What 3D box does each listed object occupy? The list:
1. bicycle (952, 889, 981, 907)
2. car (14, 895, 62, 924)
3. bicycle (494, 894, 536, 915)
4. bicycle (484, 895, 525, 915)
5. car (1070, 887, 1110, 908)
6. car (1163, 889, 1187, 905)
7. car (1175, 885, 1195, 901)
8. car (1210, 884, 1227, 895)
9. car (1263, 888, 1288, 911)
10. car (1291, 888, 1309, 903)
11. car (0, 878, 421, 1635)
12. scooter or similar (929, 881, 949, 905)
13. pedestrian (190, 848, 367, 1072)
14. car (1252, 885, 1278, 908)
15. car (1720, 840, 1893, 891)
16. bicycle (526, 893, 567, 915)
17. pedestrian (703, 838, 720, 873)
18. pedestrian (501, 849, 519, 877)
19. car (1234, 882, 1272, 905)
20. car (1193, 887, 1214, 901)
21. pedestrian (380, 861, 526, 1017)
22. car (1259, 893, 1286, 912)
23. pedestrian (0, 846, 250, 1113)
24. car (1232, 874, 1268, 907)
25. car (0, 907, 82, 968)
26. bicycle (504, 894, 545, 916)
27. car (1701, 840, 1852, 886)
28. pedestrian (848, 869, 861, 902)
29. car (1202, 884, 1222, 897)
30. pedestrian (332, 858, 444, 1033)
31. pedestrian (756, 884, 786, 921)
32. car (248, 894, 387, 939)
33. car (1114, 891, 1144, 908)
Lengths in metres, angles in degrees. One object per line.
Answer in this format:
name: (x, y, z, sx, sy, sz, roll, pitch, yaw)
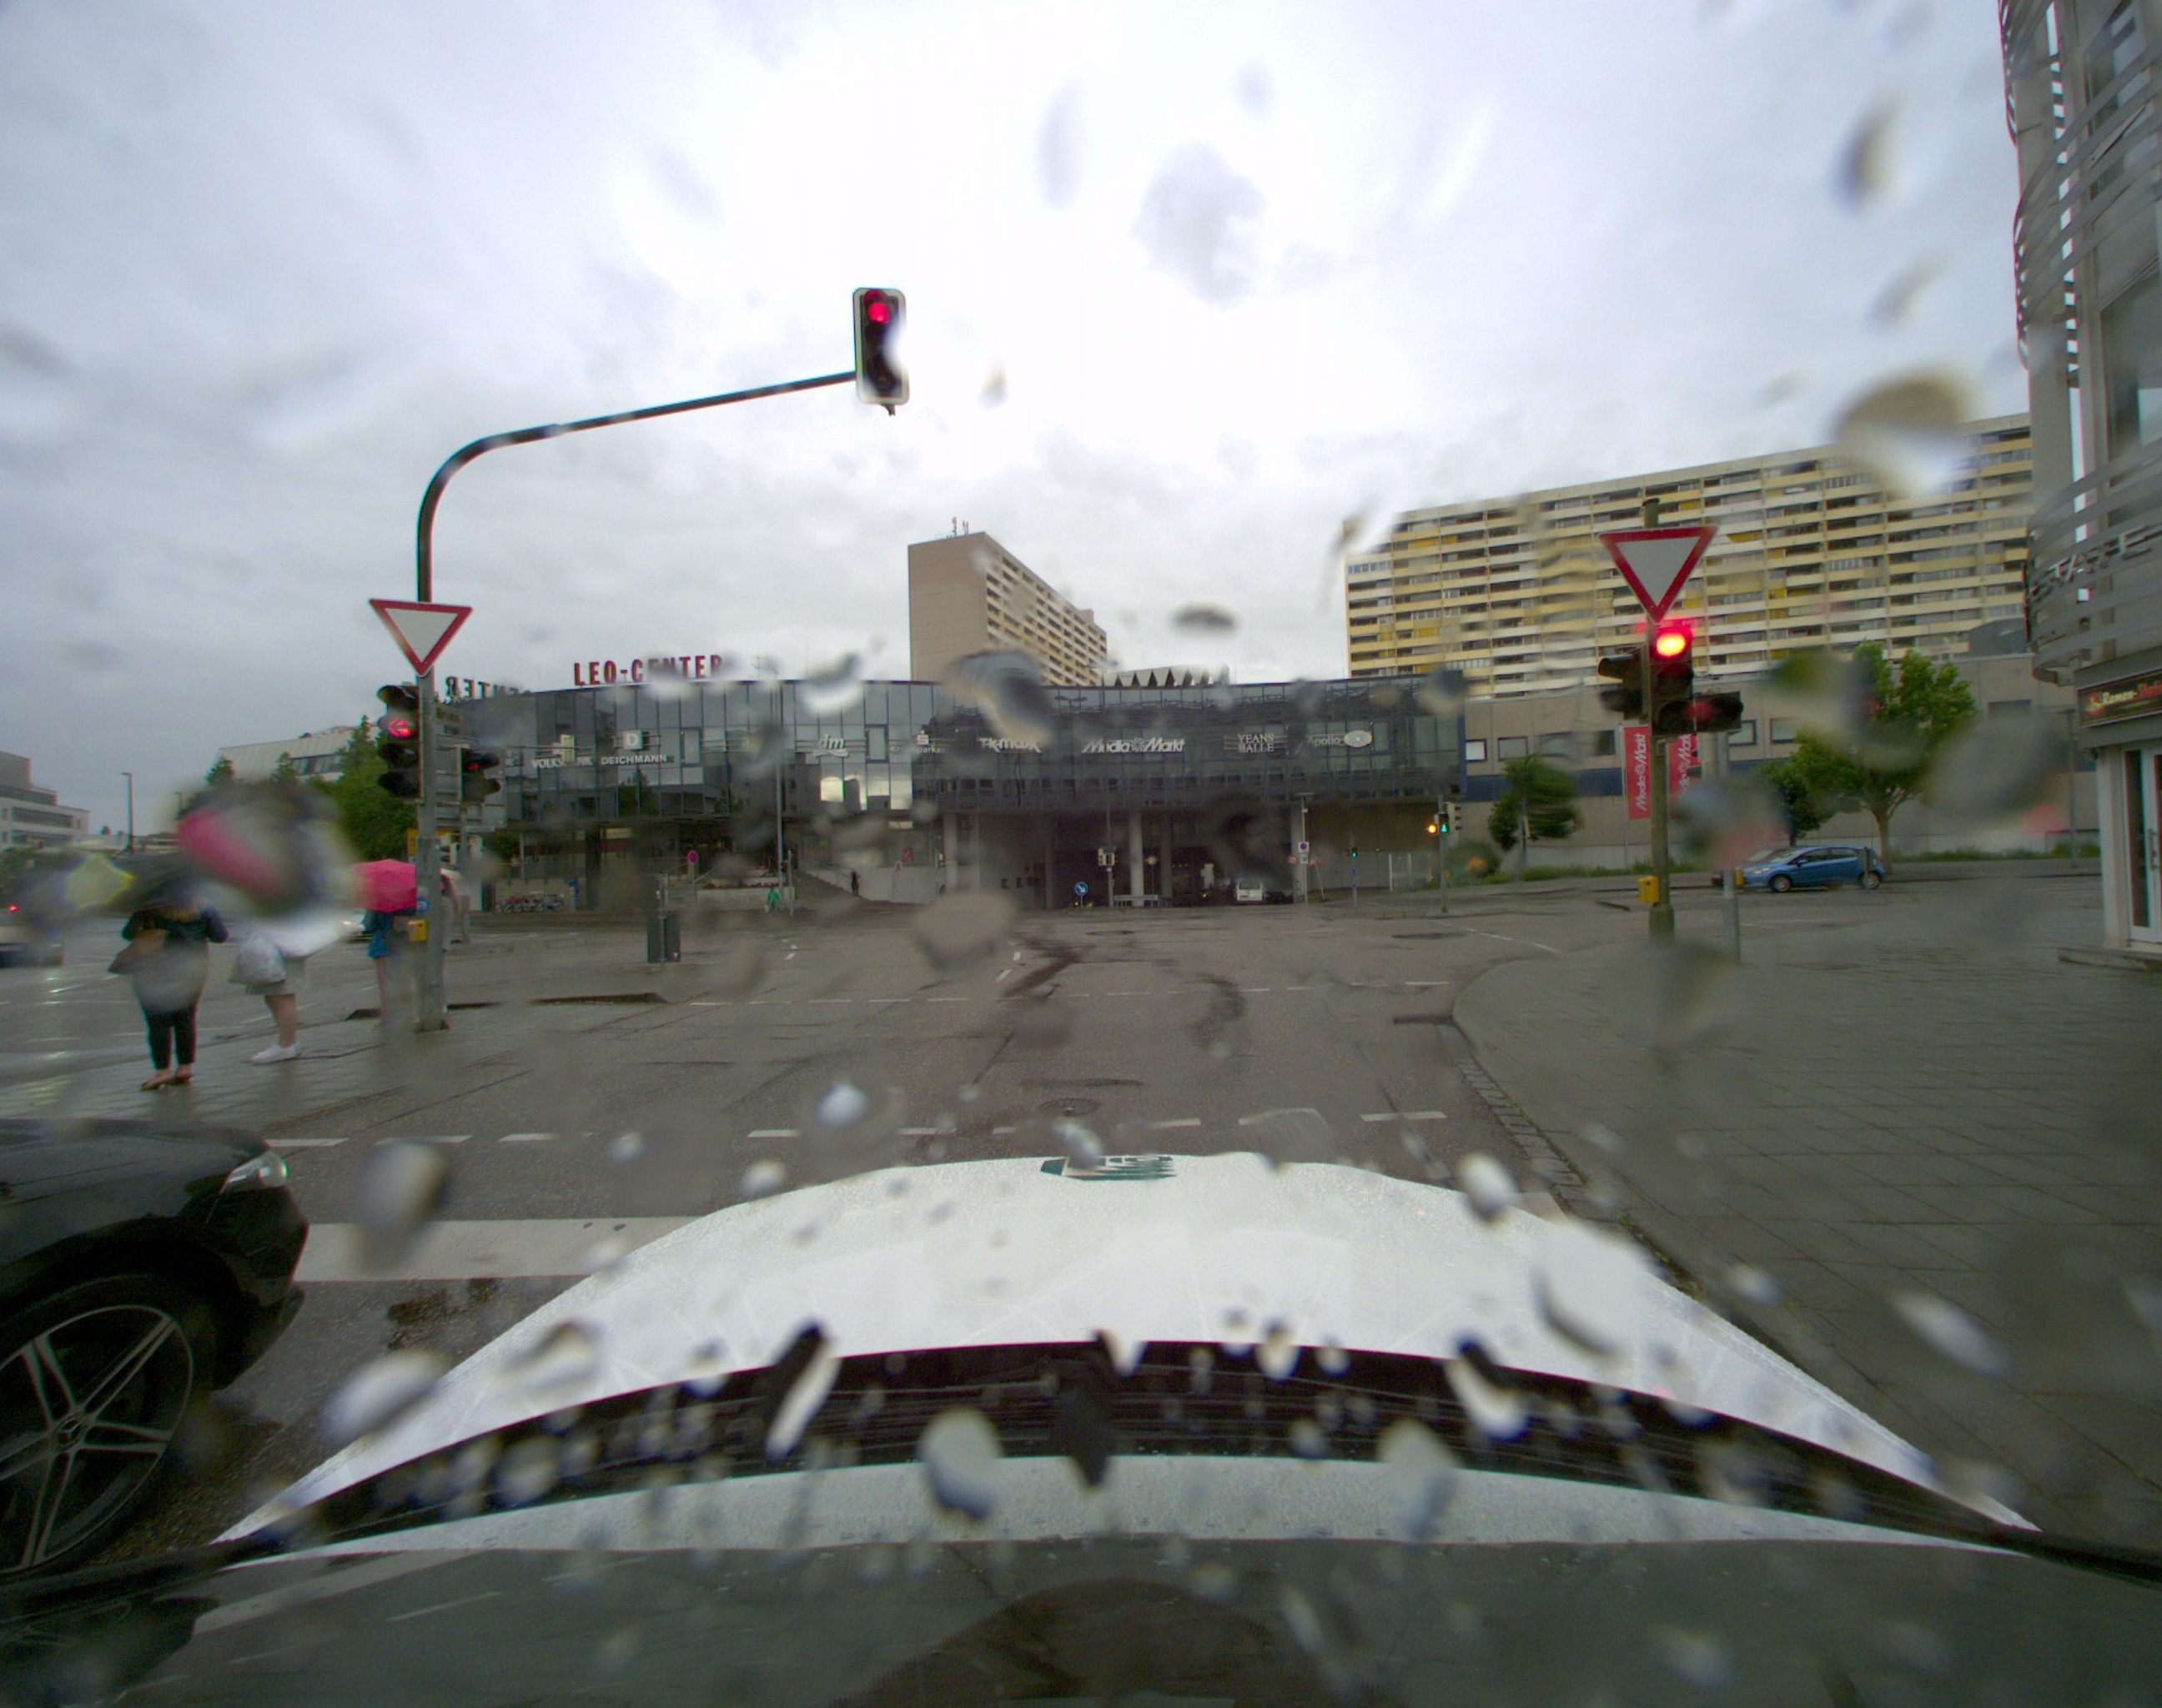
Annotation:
bicycle: (-6.885, 2.639, 48.965, 1.591, 1.018, 0.448, 5, -3, -29)
car: (-75.155, 3.969, 58.685, 4.085, 1.896, 2.062, -1, -1, 38)
bicycle: (-32.389, 2.885, 46.623, 0.621, 1.033, 1.865, -3, 1, 20)
bicycle: (-33.074, 2.928, 46.762, 0.529, 0.951, 1.865, -1, 2, 23)
car: (0.718, 3.355, 62.615, 1.877, 1.470, 4.044, -2, -5, 18)
car: (10.526, 4.770, 91.135, 1.899, 1.588, 3.957, -3, -2, 17)
car: (12.268, 4.527, 95.901, 1.823, 1.728, 4.014, -2, -1, 13)
car: (19.330, 4.961, 114.241, 1.979, 1.464, 4.016, -3, -2, 15)
car: (16.883, 3.875, 70.442, 1.777, 1.771, 4.017, -3, -2, 17)
car: (24.285, 4.572, 90.413, 1.874, 1.491, 3.856, -1, -1, 16)
car: (-3.006, 0.834, 0.609, 1.657, 1.481, 4.094, 0, 0, 0)
scooter or similar: (-8.472, 2.334, 48.533, 1.167, 1.373, 0.487, 0, -1, -13)
pedestrian: (-6.902, 0.841, 7.009, 1.123, 1.744, 0.865, -3, -1, 34)
car: (13.780, 3.182, 60.819, 1.621, 1.612, 4.279, -3, -3, 15)
car: (23.383, 0.374, 26.382, 3.819, 1.397, 1.684, -3, -2, 10)
bicycle: (-30.092, 2.816, 45.901, 0.625, 1.023, 1.864, -3, 1, 20)
pedestrian: (-21.660, 0.110, 47.759, 0.832, 2.014, 0.946, 0, -1, -19)
pedestrian: (-34.635, 0.534, 49.423, 0.592, 1.714, 0.658, -1, -1, 25)
car: (11.840, 2.763, 55.998, 1.742, 1.464, 3.963, -3, -5, 23)
car: (15.264, 4.977, 101.611, 1.978, 1.664, 4.018, -1, -1, 17)
pedestrian: (-7.210, 0.940, 9.395, 0.932, 1.677, 0.917, -2, -1, 1)
car: (15.499, 3.909, 65.712, 1.765, 1.400, 4.017, -3, -4, 17)
pedestrian: (-6.958, 0.842, 5.986, 0.956, 1.736, 0.829, -2, -2, -28)
car: (10.108, 2.162, 48.505, 1.912, 1.798, 4.310, -2, -3, 13)
car: (-28.199, 2.155, 21.141, 5.079, 1.414, 2.136, -3, -2, 31)
bicycle: (-31.679, 2.873, 46.379, 0.640, 1.042, 1.865, -3, 1, 20)
car: (24.851, 0.338, 29.227, 3.660, 1.395, 1.750, -3, -2, 11)
pedestrian: (-13.147, 1.831, 47.250, 0.655, 1.908, 0.593, -1, -1, -6)
car: (17.614, 4.901, 109.198, 1.978, 1.464, 4.018, -3, -2, 17)
pedestrian: (-7.174, 0.900, 8.434, 0.665, 1.685, 0.811, -4, -2, 45)
pedestrian: (-14.323, 2.232, 37.646, 0.944, 1.623, 0.811, -2, -1, 7)
car: (-26.998, 2.215, 28.823, 3.949, 1.441, 1.754, -2, -1, 16)
car: (4.433, 4.131, 74.422, 1.756, 1.464, 3.892, -3, -4, 17)
